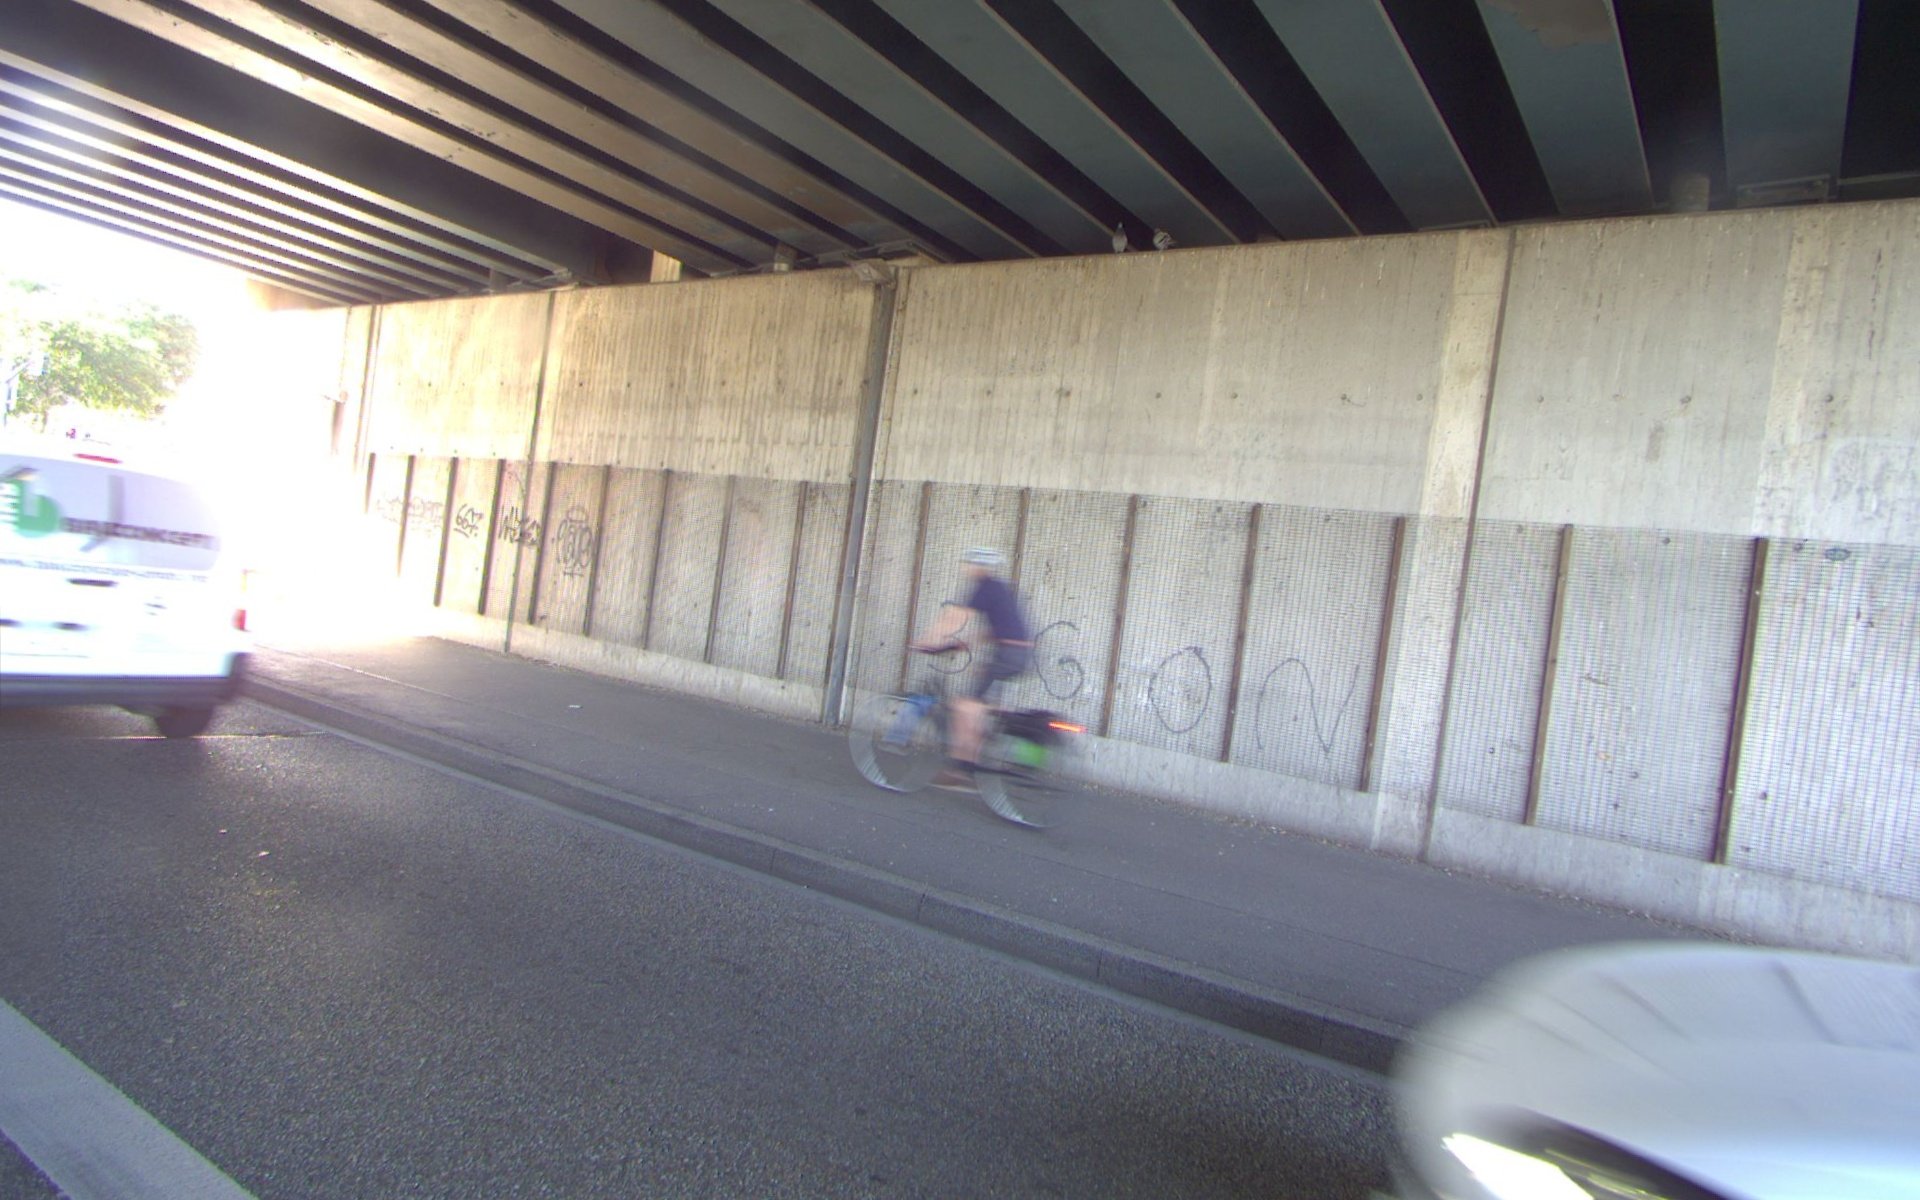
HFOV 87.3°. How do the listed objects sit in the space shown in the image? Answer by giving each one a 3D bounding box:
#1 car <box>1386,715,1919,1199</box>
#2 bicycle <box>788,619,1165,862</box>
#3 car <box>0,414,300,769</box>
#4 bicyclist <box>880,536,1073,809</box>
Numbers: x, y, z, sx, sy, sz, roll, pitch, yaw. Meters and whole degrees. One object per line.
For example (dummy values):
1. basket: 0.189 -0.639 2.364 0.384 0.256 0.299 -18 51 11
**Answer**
1. car: 3.109 1.251 1.286 4.585 1.473 1.750 7 -2 30
2. bicycle: 0.054 0.865 6.917 2.428 1.161 0.766 8 2 31
3. car: -6.610 -0.218 6.736 4.227 1.855 1.817 7 -1 30
4. bicyclist: 0.124 0.477 6.874 0.871 1.674 0.748 7 -1 31
